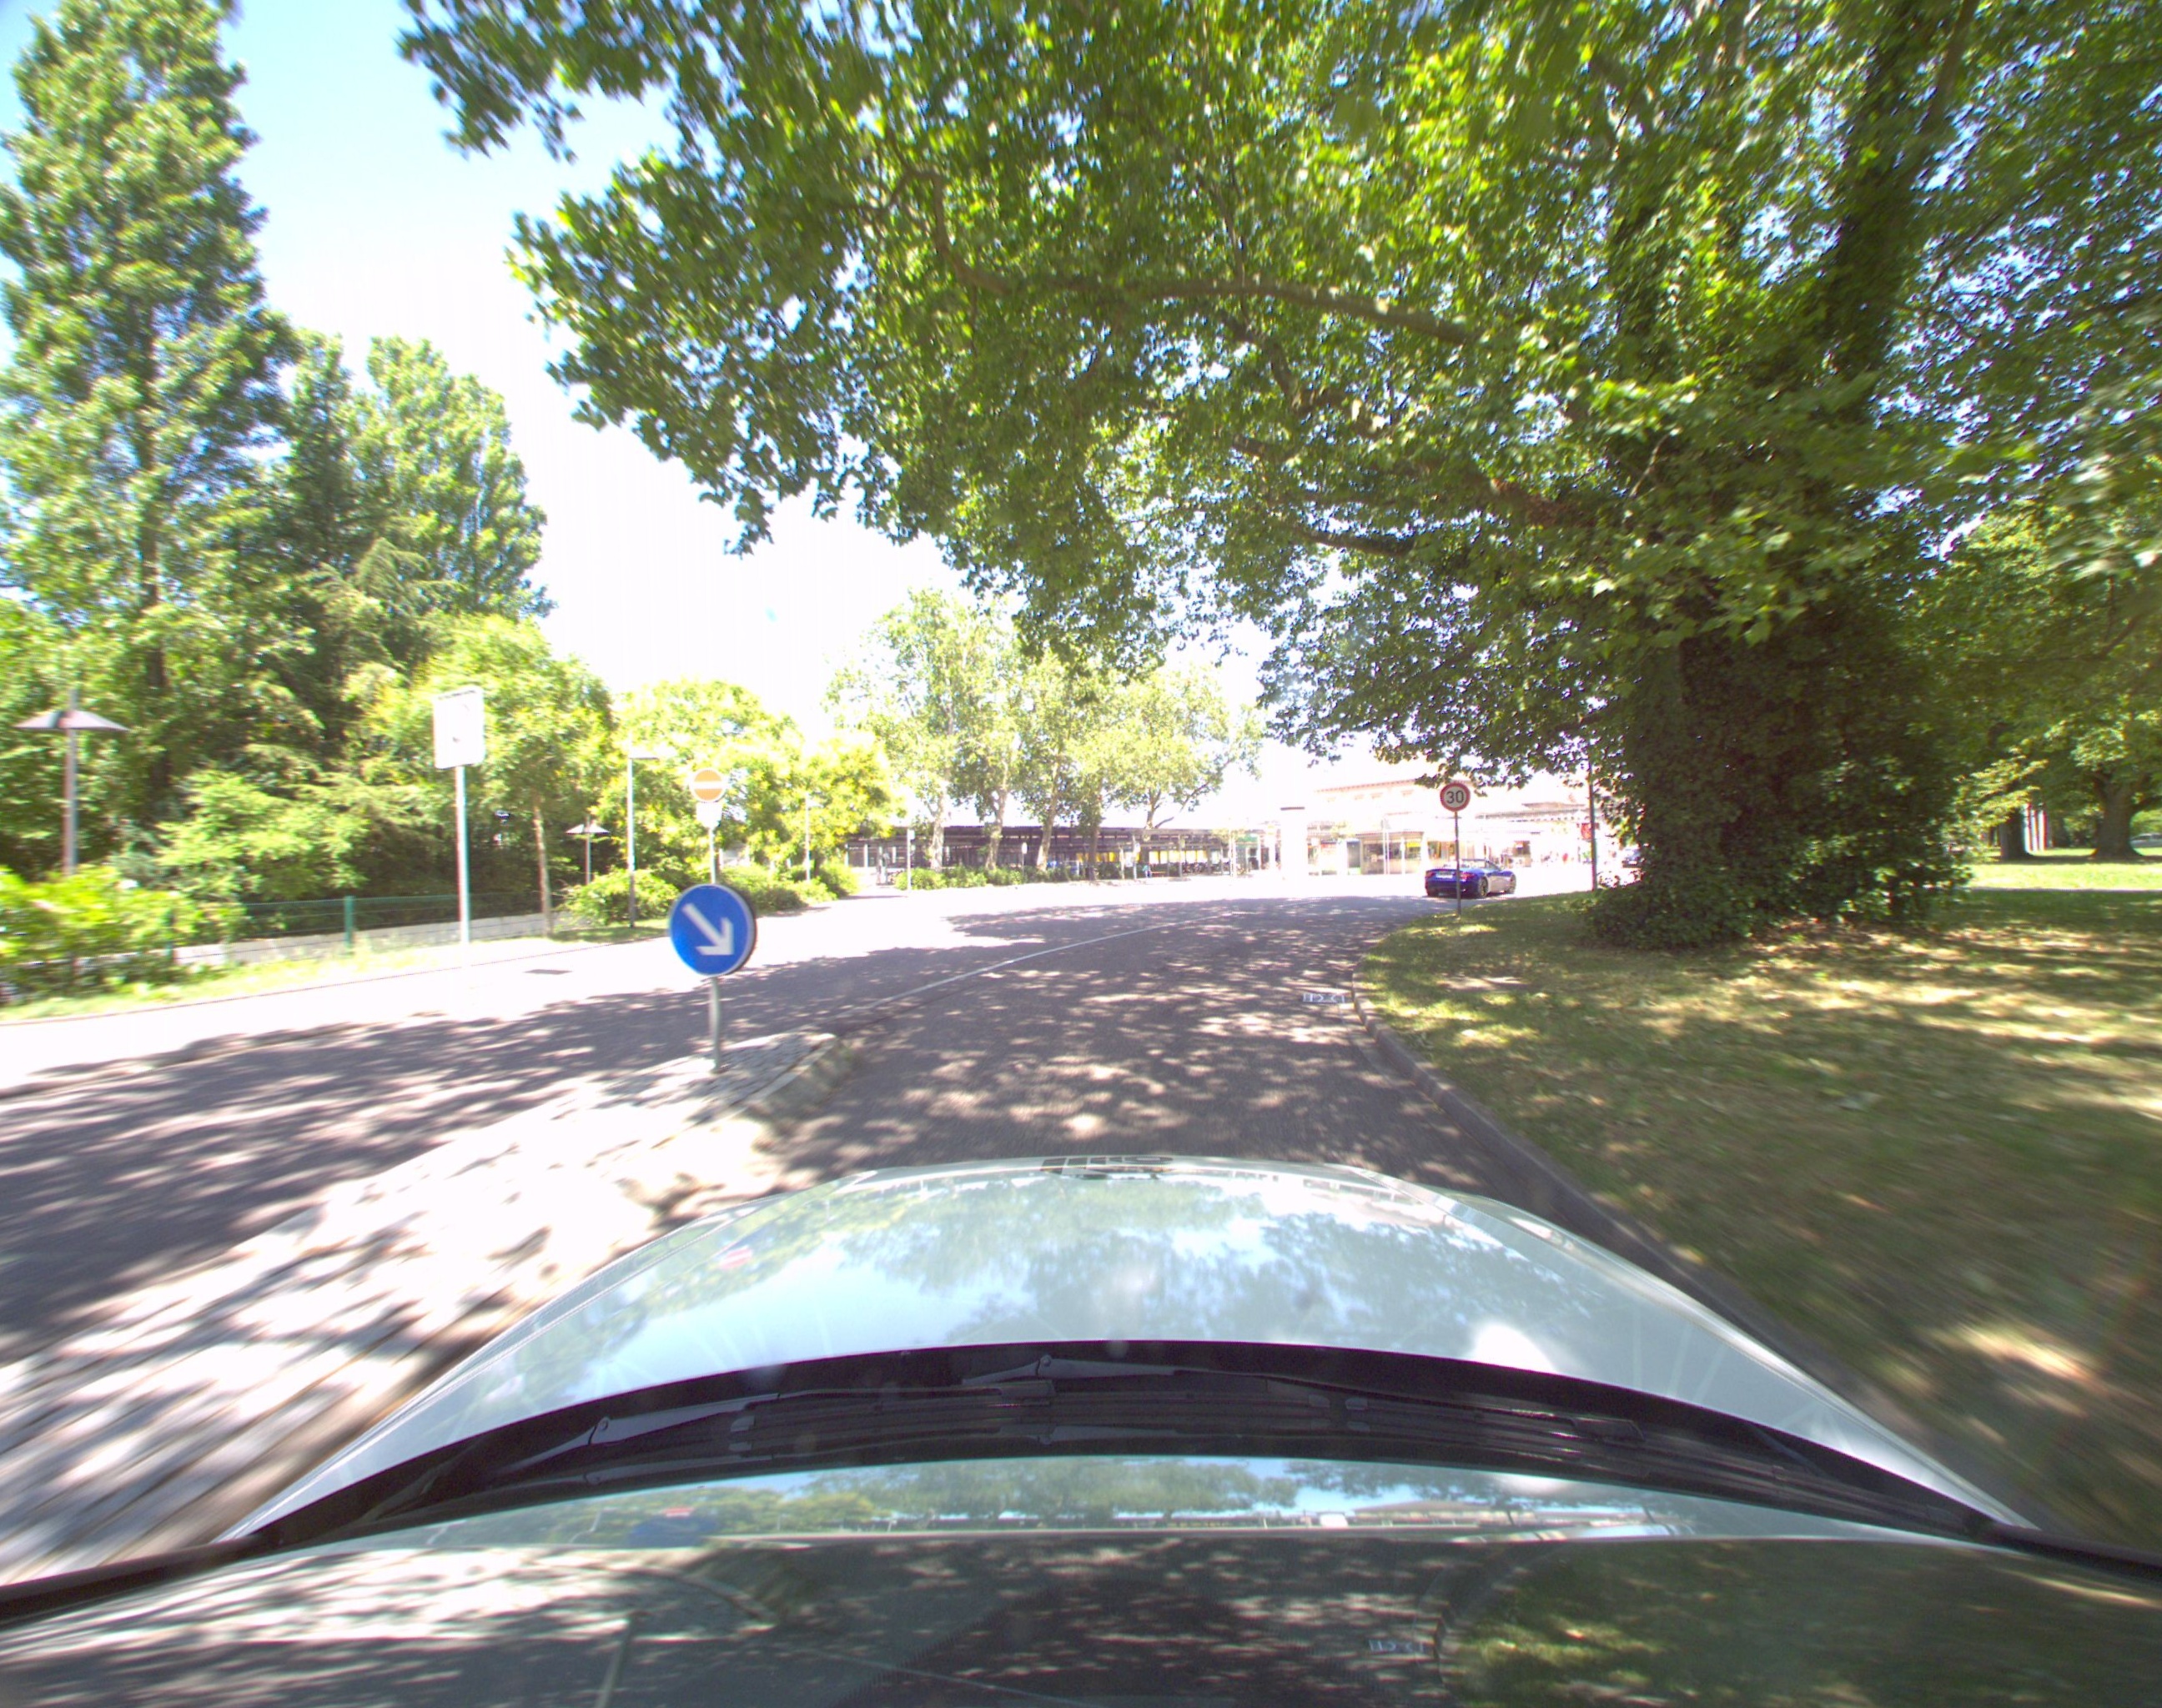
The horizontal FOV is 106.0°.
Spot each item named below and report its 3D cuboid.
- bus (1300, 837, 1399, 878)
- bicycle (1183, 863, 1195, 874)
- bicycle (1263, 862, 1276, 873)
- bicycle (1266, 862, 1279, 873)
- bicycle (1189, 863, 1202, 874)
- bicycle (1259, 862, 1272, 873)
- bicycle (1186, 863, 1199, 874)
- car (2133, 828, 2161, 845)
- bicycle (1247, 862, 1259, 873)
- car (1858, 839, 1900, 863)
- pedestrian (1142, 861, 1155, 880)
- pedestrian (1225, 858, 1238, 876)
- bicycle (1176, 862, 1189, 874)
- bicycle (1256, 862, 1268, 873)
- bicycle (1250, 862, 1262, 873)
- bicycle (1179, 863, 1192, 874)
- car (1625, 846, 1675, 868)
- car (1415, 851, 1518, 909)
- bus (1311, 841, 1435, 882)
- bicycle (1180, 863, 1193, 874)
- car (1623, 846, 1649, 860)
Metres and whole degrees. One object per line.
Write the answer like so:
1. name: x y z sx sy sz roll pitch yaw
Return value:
1. bus: 25.221 0.252 76.045 12.280 3.526 2.144 -1 -1 -38
2. bicycle: 10.655 1.412 80.303 0.388 1.094 1.370 1 -3 -36
3. bicycle: 19.767 1.404 85.568 0.388 1.094 1.370 -1 -1 -36
4. bicycle: 20.135 1.397 85.826 0.388 1.094 1.370 -1 -1 -36
5. bicycle: 11.336 1.424 80.774 0.388 1.094 1.370 1 -3 -36
6. bicycle: 19.288 1.401 85.197 0.388 1.094 1.370 -1 -1 -36
7. bicycle: 11.005 1.417 80.519 0.388 1.094 1.370 1 -3 -36
8. car: 97.644 -1.587 72.944 2.010 1.466 4.070 -1 -1 -40
9. bicycle: 18.214 1.440 86.159 0.388 1.094 1.370 -1 -1 -35
10. car: 51.891 -0.199 52.930 3.726 1.478 1.703 -1 -2 -43
11. pedestrian: 5.542 1.347 66.893 0.826 1.464 0.600 -1 -2 -41
12. pedestrian: 13.525 1.177 73.076 0.811 1.617 0.773 -2 -1 34
13. bicycle: 9.935 1.396 79.702 0.388 1.094 1.370 1 -3 -36
14. bicycle: 18.860 1.411 84.869 0.368 1.100 1.390 -1 -1 -36
15. bicycle: 18.565 1.437 86.415 0.388 1.094 1.371 -1 -1 -35
16. bicycle: 10.511 1.472 81.926 0.388 1.094 1.370 1 -3 -36
17. car: 42.817 0.224 61.245 4.809 1.478 1.704 -1 -2 -39
18. car: 13.549 0.849 28.527 2.105 1.848 4.072 -2 -1 43
19. bus: 24.050 0.520 66.370 13.961 3.041 2.652 0 -2 -39
20. bicycle: 10.341 1.404 79.996 0.388 1.094 1.370 1 -3 -37
21. car: 82.303 -0.168 120.690 4.798 1.917 1.737 -2 -1 -38
